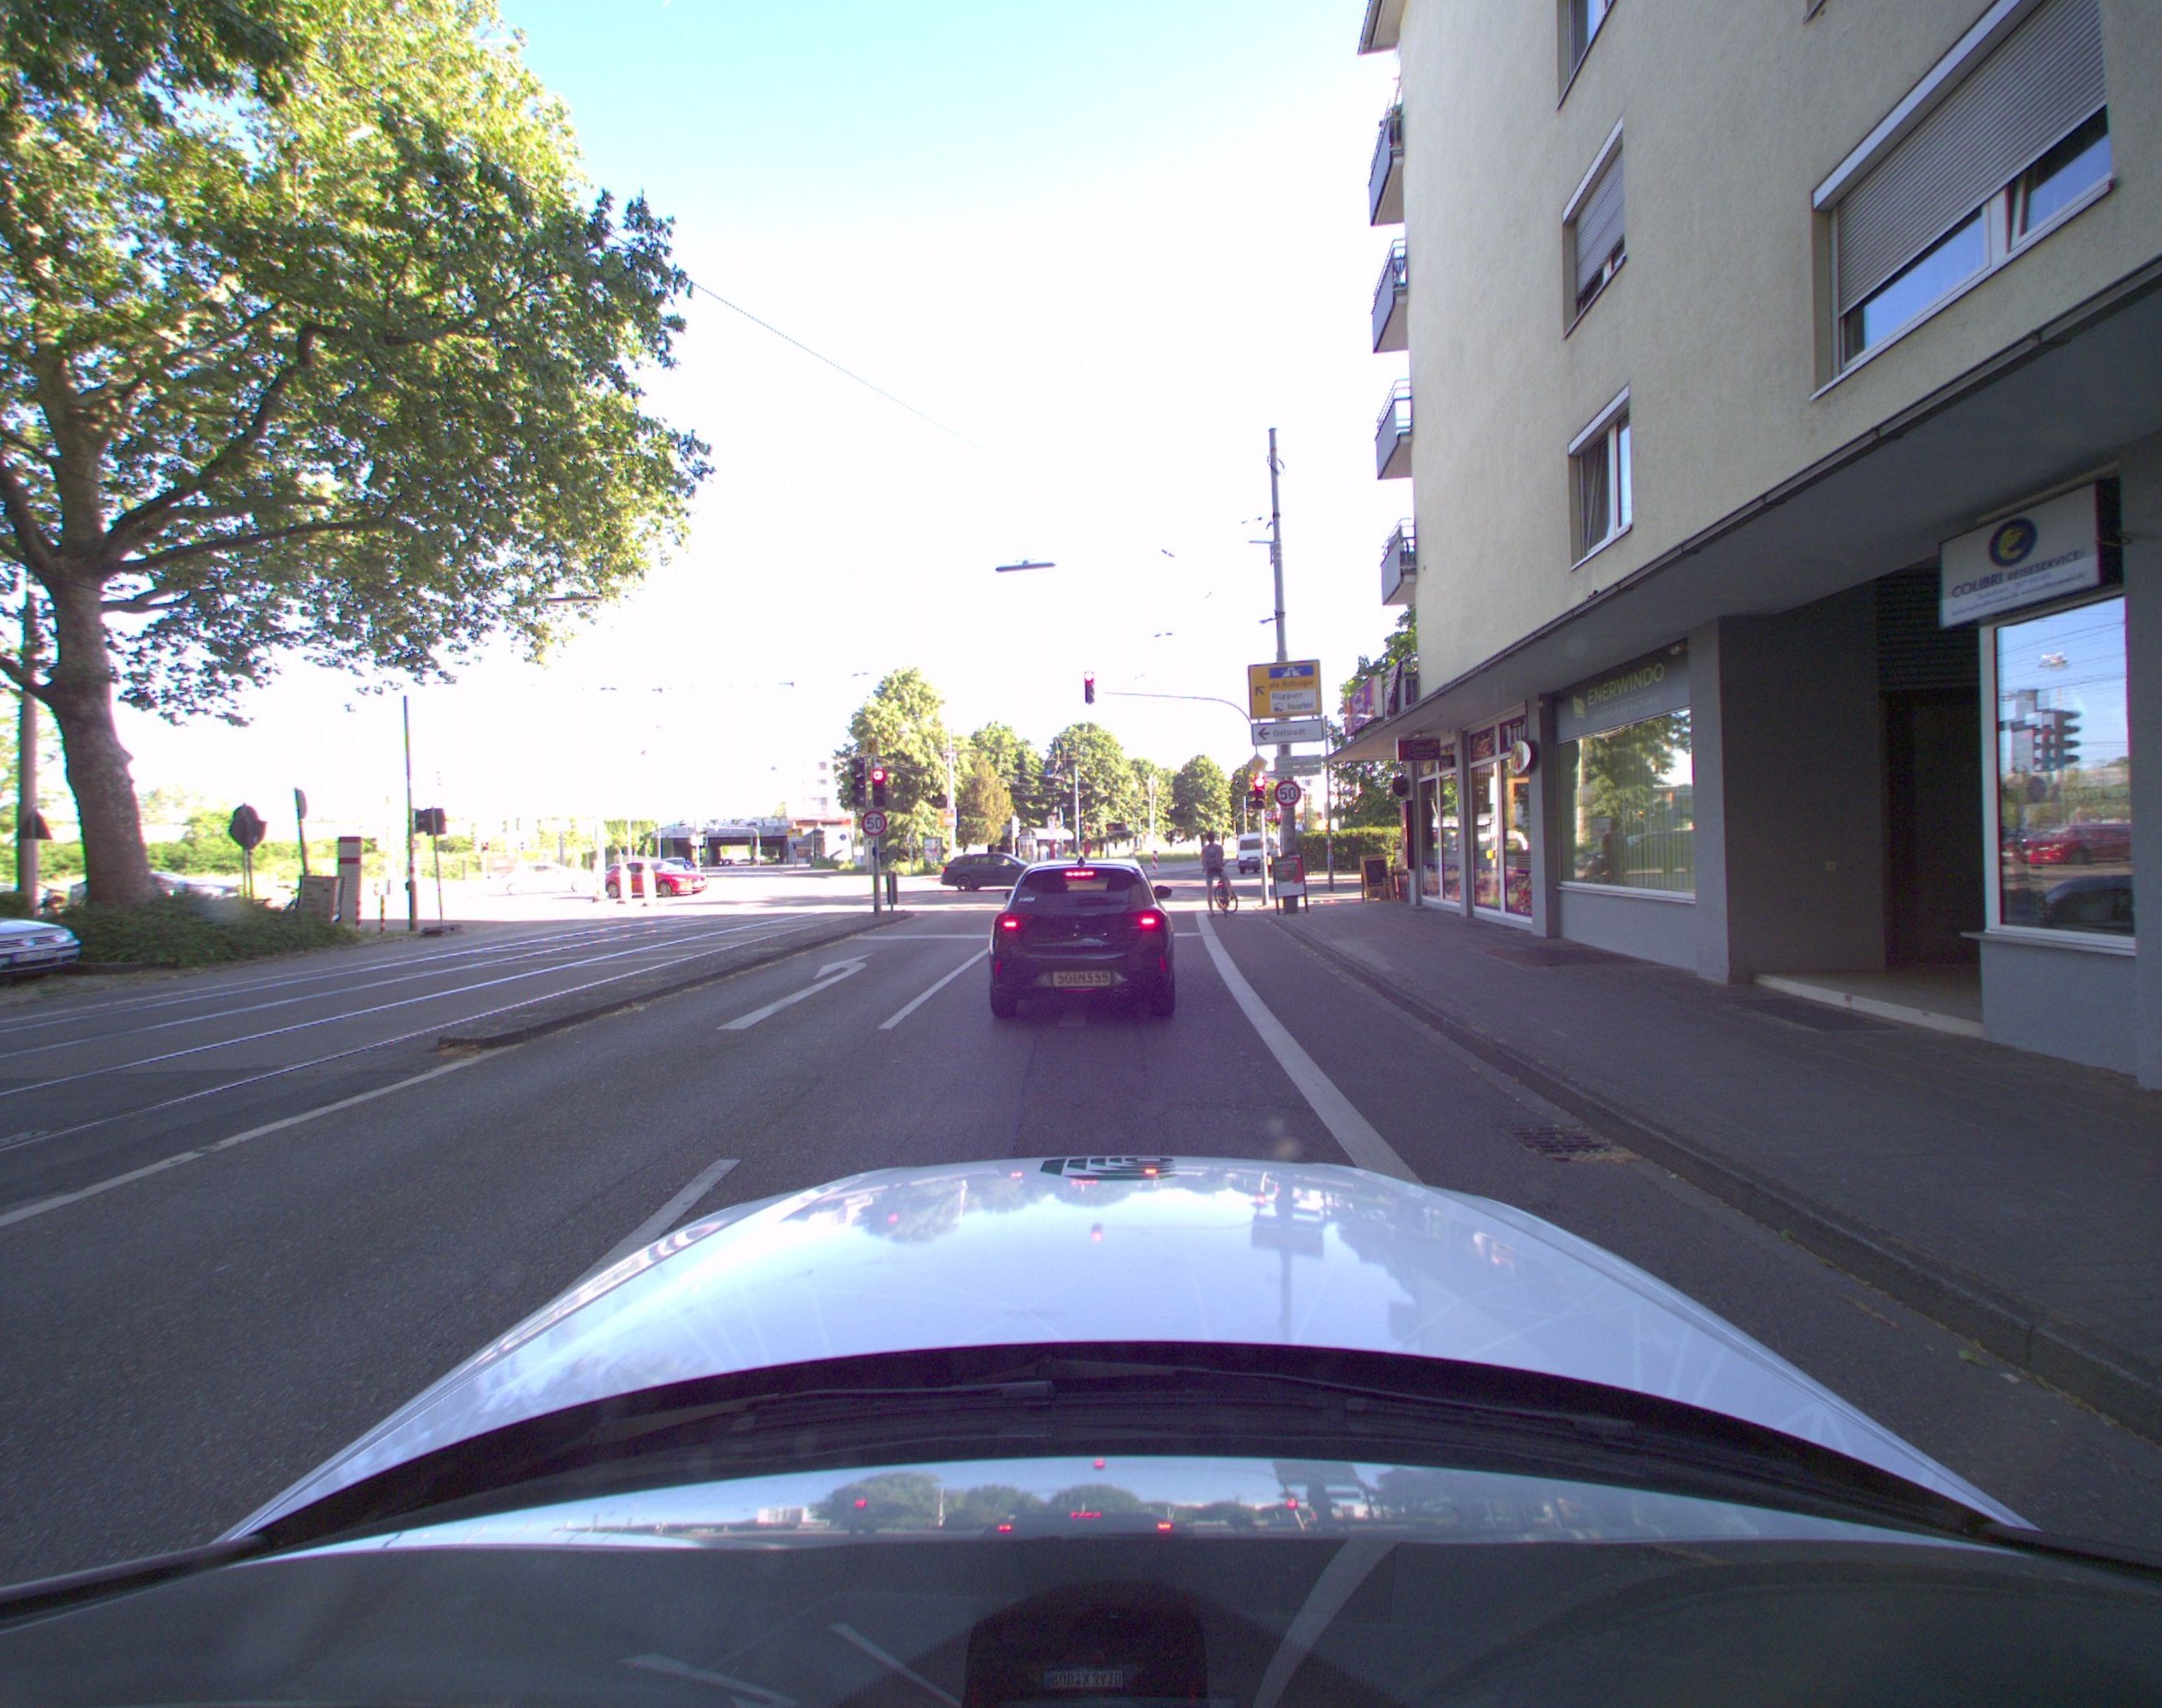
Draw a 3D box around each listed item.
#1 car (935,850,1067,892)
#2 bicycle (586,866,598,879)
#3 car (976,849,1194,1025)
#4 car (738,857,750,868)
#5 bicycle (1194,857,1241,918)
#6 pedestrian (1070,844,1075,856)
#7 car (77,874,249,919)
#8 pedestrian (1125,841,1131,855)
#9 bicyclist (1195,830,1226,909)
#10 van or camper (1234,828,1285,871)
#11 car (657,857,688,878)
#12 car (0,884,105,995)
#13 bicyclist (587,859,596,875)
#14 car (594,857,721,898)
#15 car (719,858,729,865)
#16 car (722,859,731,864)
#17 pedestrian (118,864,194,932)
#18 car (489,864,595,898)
[{"bbox_3d":[-3.042,0.622,31.459,4.701,1.473,1.943,-1,0,7],"label":"car"},{"bbox_3d":[-39.062,1.472,65.028,0.528,0.982,1.566,-1,0,-21],"label":"bicycle"},{"bbox_3d":[0.097,0.702,8.942,1.833,1.462,3.985,-1,0,2],"label":"car"},{"bbox_3d":[-54.302,1.392,131.204,1.761,1.684,3.713,0,-1,-22],"label":"car"},{"bbox_3d":[3.046,0.713,18.025,0.747,1.235,2.024,-2,0,16],"label":"bicycle"},{"bbox_3d":[-1.247,-0.619,121.341,0.602,1.872,0.519,0,-1,-4],"label":"pedestrian"},{"bbox_3d":[-37.218,1.697,33.177,4.215,1.519,1.788,-2,1,-27],"label":"car"},{"bbox_3d":[6.114,-0.792,106.257,0.607,1.872,0.515,0,-1,-26],"label":"pedestrian"},{"bbox_3d":[2.845,0.329,17.865,0.529,1.692,0.571,-2,0,19],"label":"bicyclist"},{"bbox_3d":[10.182,-0.228,46.196,2.011,2.310,4.565,-1,-1,23],"label":"van or camper"},{"bbox_3d":[-33.333,1.094,66.550,1.892,1.585,3.809,0,-1,-21],"label":"car"},{"bbox_3d":[-16.625,1.196,11.354,3.957,1.453,1.670,-1,0,-1],"label":"car"},{"bbox_3d":[-39.094,1.037,65.085,0.528,1.222,0.526,-1,0,-22],"label":"bicyclist"},{"bbox_3d":[-17.406,0.967,33.523,4.442,1.565,2.032,-1,0,16],"label":"car"},{"bbox_3d":[-69.053,1.393,157.411,1.587,1.260,3.397,-2,0,-28],"label":"car"},{"bbox_3d":[-79.985,1.697,183.526,1.587,1.260,3.397,-2,0,-28],"label":"car"},{"bbox_3d":[-23.322,1.091,20.556,0.842,1.647,0.931,0,-1,1],"label":"pedestrian"},{"bbox_3d":[-26.058,1.255,39.478,4.214,1.552,1.976,0,-1,-35],"label":"car"}]
